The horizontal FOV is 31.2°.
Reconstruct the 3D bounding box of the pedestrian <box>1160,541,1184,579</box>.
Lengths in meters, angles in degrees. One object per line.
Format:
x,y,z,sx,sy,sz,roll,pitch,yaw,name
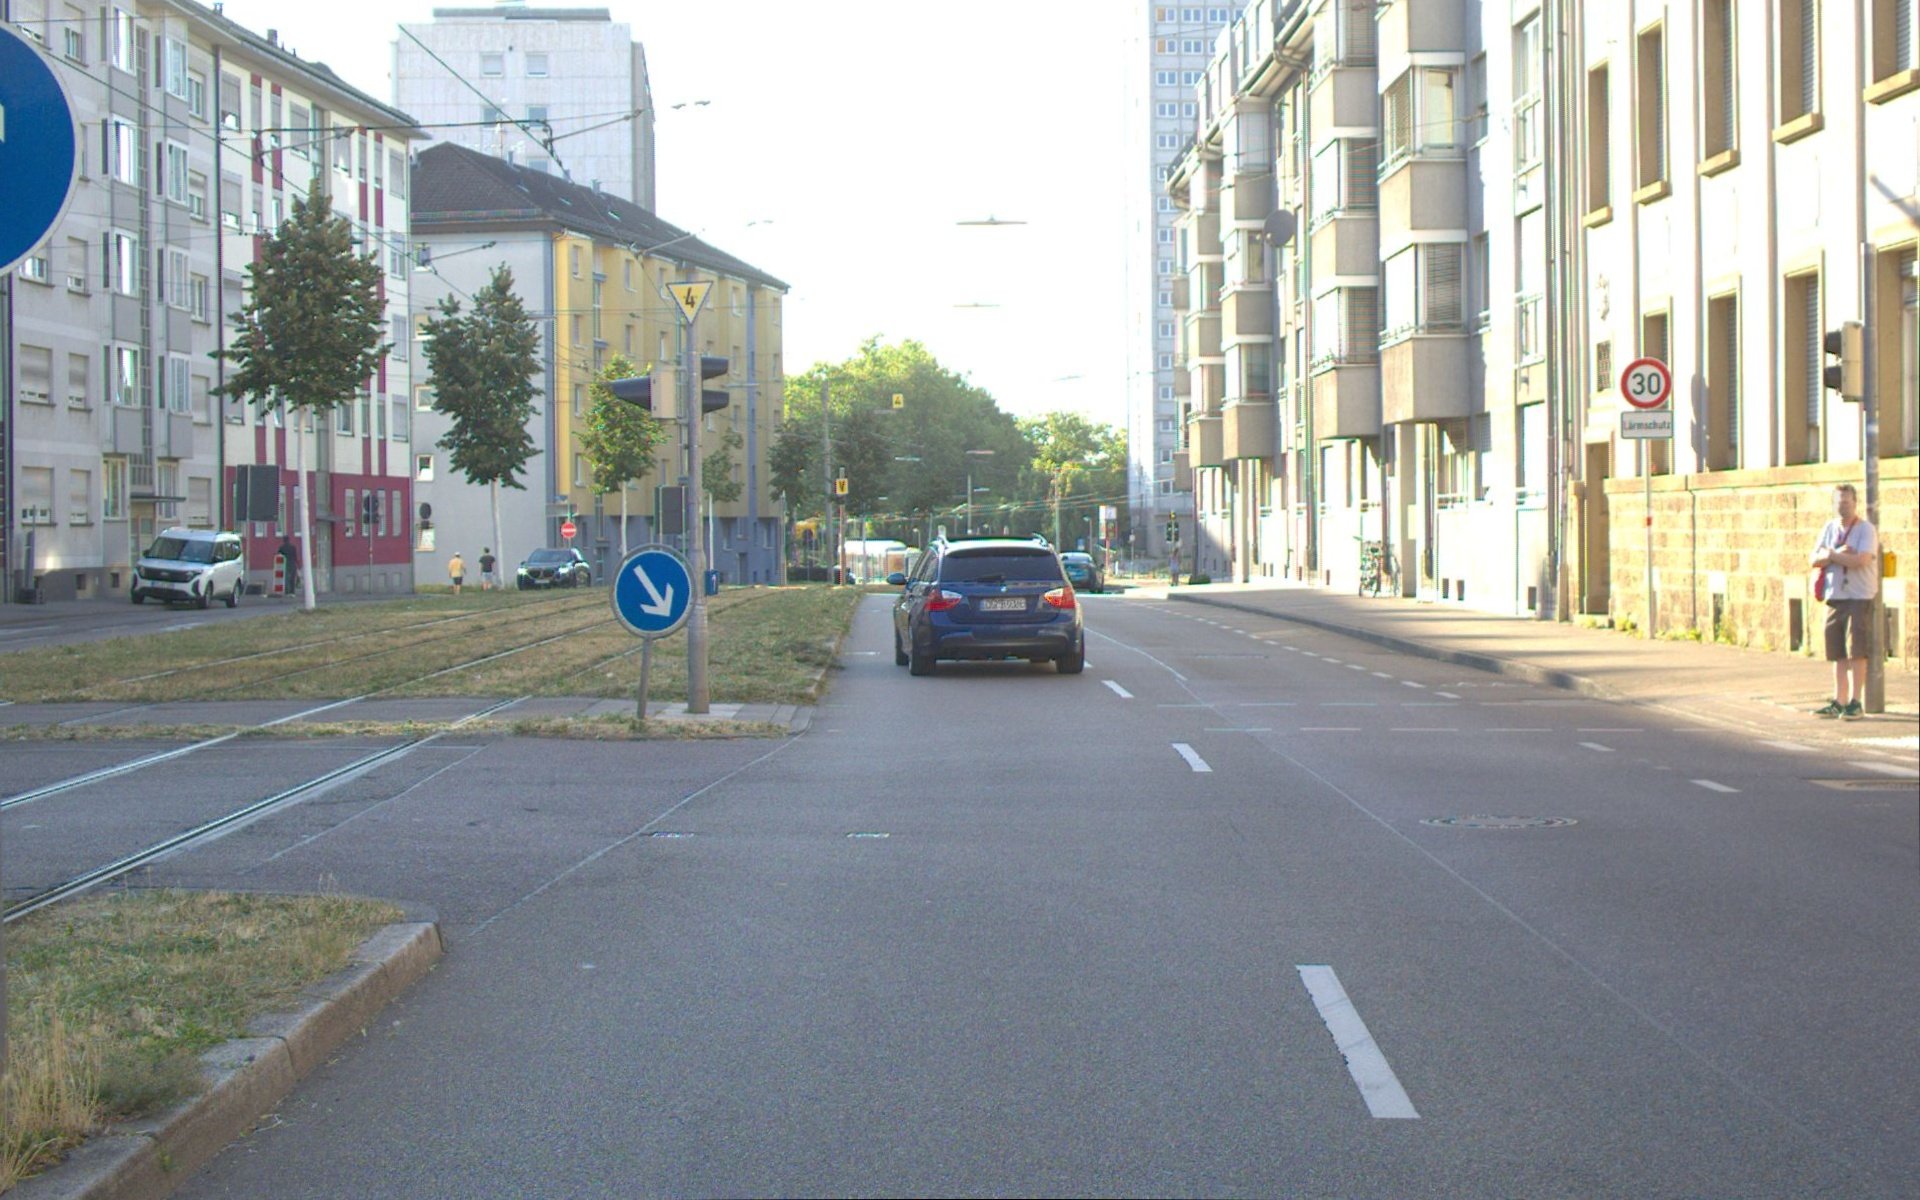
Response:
6.929,-1.320,112.435,0.691,1.230,0.736,1,0,-1,pedestrian

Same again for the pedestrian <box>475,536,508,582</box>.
-17.084,-1.508,125.364,0.962,1.664,1.011,1,0,5,pedestrian

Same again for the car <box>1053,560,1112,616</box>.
4.564,-0.456,128.214,1.993,2.007,4.000,-1,1,-1,car

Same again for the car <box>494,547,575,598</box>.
-14.412,-0.952,116.636,1.897,1.628,4.747,-1,1,3,car

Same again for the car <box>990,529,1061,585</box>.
1.871,-1.246,99.591,1.993,1.558,4.000,1,1,1,car

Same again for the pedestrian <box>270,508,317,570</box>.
-19.160,-1.760,98.883,1.269,1.755,1.274,1,0,-10,pedestrian

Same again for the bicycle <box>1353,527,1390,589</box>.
7.418,-0.757,62.012,0.383,1.092,1.504,-1,1,-3,bicycle

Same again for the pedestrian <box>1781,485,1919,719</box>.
6.820,0.012,26.342,0.835,1.756,0.824,1,0,-1,pedestrian

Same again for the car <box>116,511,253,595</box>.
-18.366,-1.107,81.597,1.994,1.918,4.541,1,1,3,car

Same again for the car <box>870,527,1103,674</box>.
0.213,-0.021,36.650,1.926,1.451,4.328,1,1,-7,car
